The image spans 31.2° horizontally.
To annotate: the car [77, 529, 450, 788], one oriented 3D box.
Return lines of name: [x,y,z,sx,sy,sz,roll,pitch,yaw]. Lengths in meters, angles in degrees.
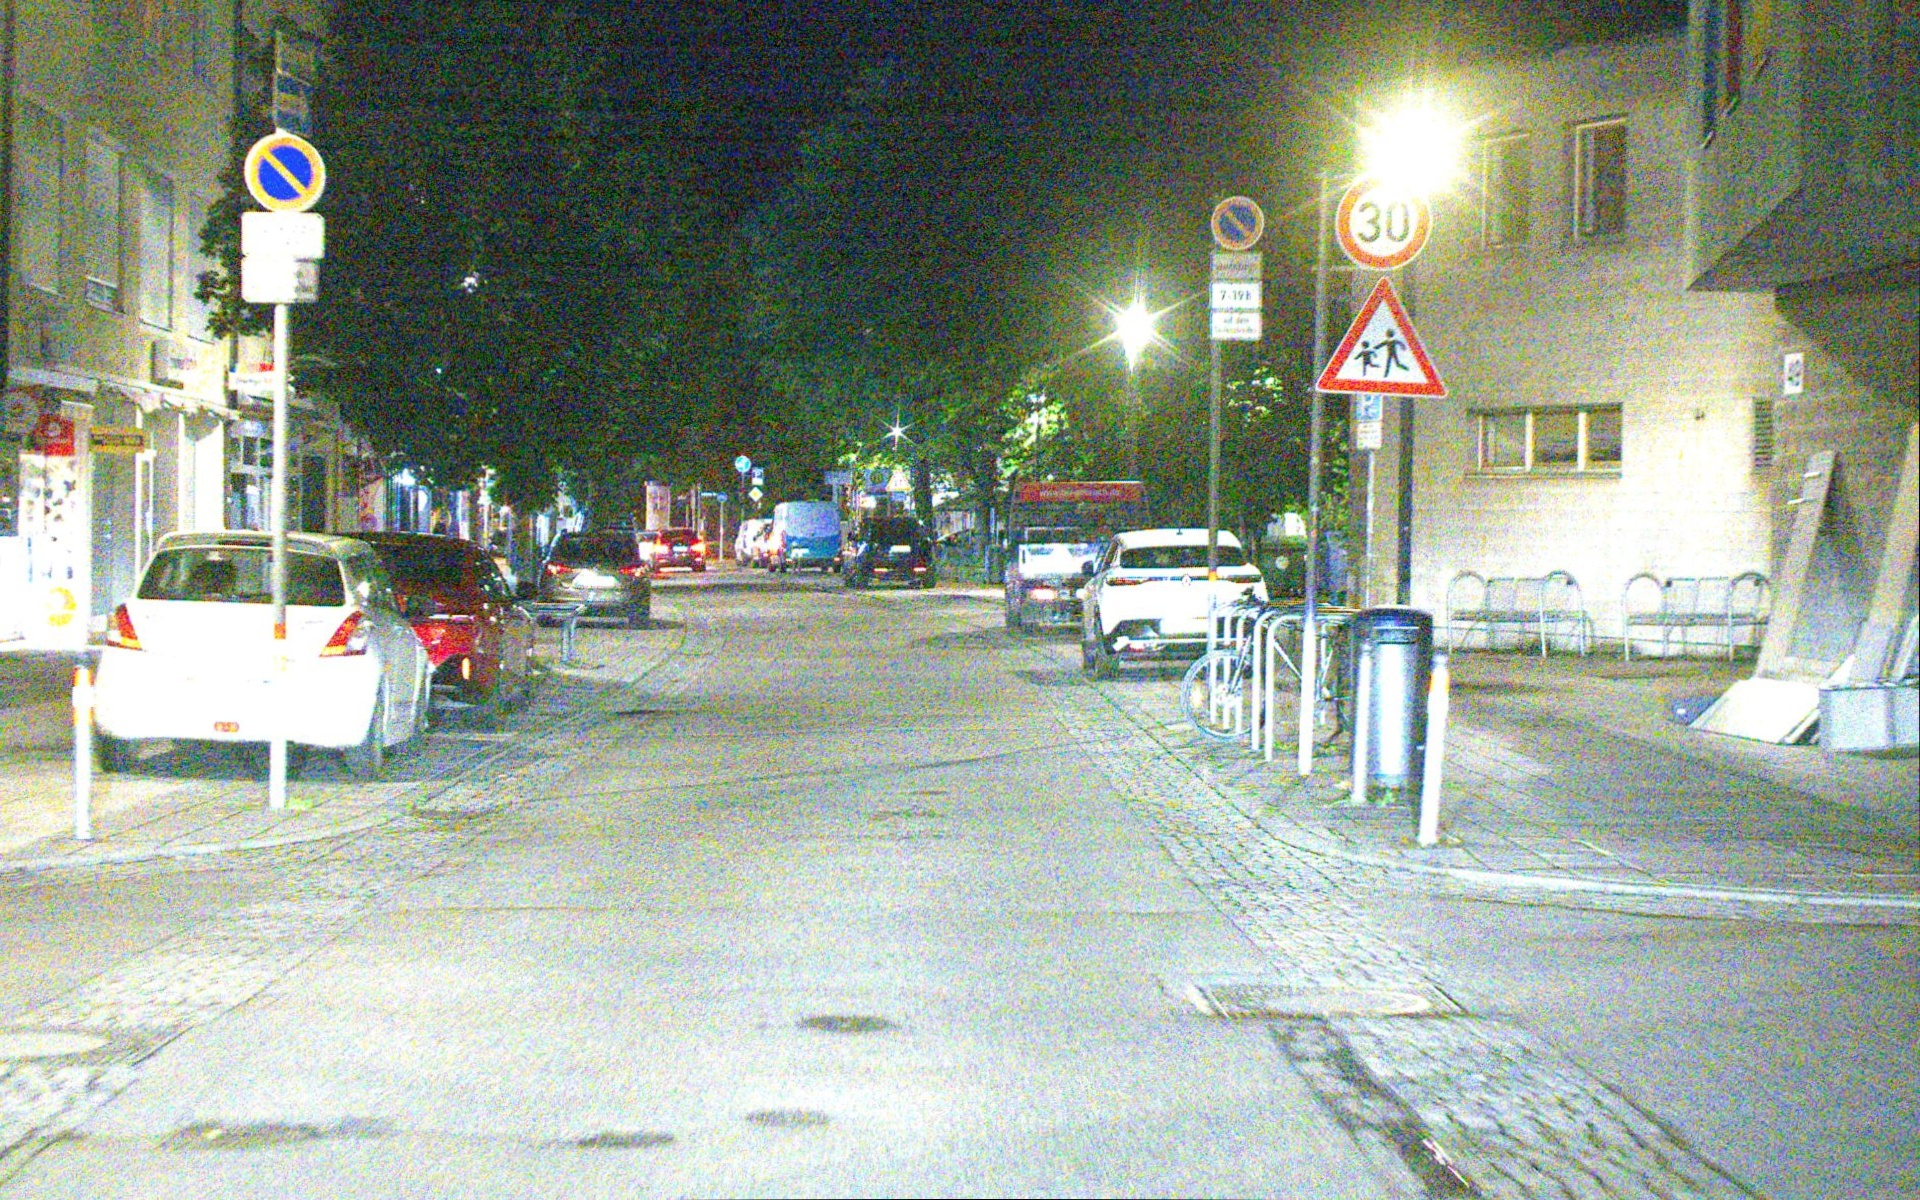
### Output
car: [-4.361,0.310,22.043,1.728,1.472,3.847,1,1,-2]

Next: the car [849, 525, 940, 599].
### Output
car: [-1.674,-0.972,86.860,1.814,1.822,4.348,0,1,-8]

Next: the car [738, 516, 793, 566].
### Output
car: [-7.447,-2.262,131.407,1.839,1.894,3.846,0,1,-7]

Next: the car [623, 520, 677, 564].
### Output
car: [-12.092,-2.262,134.128,1.993,1.697,4.001,0,1,-6]

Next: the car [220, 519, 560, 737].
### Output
car: [-4.469,0.164,27.709,2.019,1.483,5.008,3,1,-2]

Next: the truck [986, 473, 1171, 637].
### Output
truck: [1.690,-0.691,51.292,2.336,2.304,5.781,0,1,-2]

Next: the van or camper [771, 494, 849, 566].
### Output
van or camper: [-4.939,-2.301,112.822,2.108,2.309,4.263,-1,1,-8]

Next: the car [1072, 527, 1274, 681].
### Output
car: [2.167,0.002,35.963,1.789,1.486,4.059,-1,1,-1]

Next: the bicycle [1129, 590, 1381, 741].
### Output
bicycle: [2.090,0.463,24.411,1.754,1.058,0.346,0,1,-4]

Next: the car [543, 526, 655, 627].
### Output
car: [-5.875,-0.409,55.663,1.673,1.538,4.231,1,1,-7]

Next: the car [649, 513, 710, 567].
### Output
car: [-9.834,-2.103,120.364,1.993,1.817,4.001,0,1,-6]

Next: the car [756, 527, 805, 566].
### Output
car: [-6.569,-1.957,125.646,1.531,1.413,3.846,0,1,-7]

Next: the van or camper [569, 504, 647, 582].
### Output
van or camper: [-9.576,-1.548,93.313,1.866,2.004,4.263,2,1,-8]
